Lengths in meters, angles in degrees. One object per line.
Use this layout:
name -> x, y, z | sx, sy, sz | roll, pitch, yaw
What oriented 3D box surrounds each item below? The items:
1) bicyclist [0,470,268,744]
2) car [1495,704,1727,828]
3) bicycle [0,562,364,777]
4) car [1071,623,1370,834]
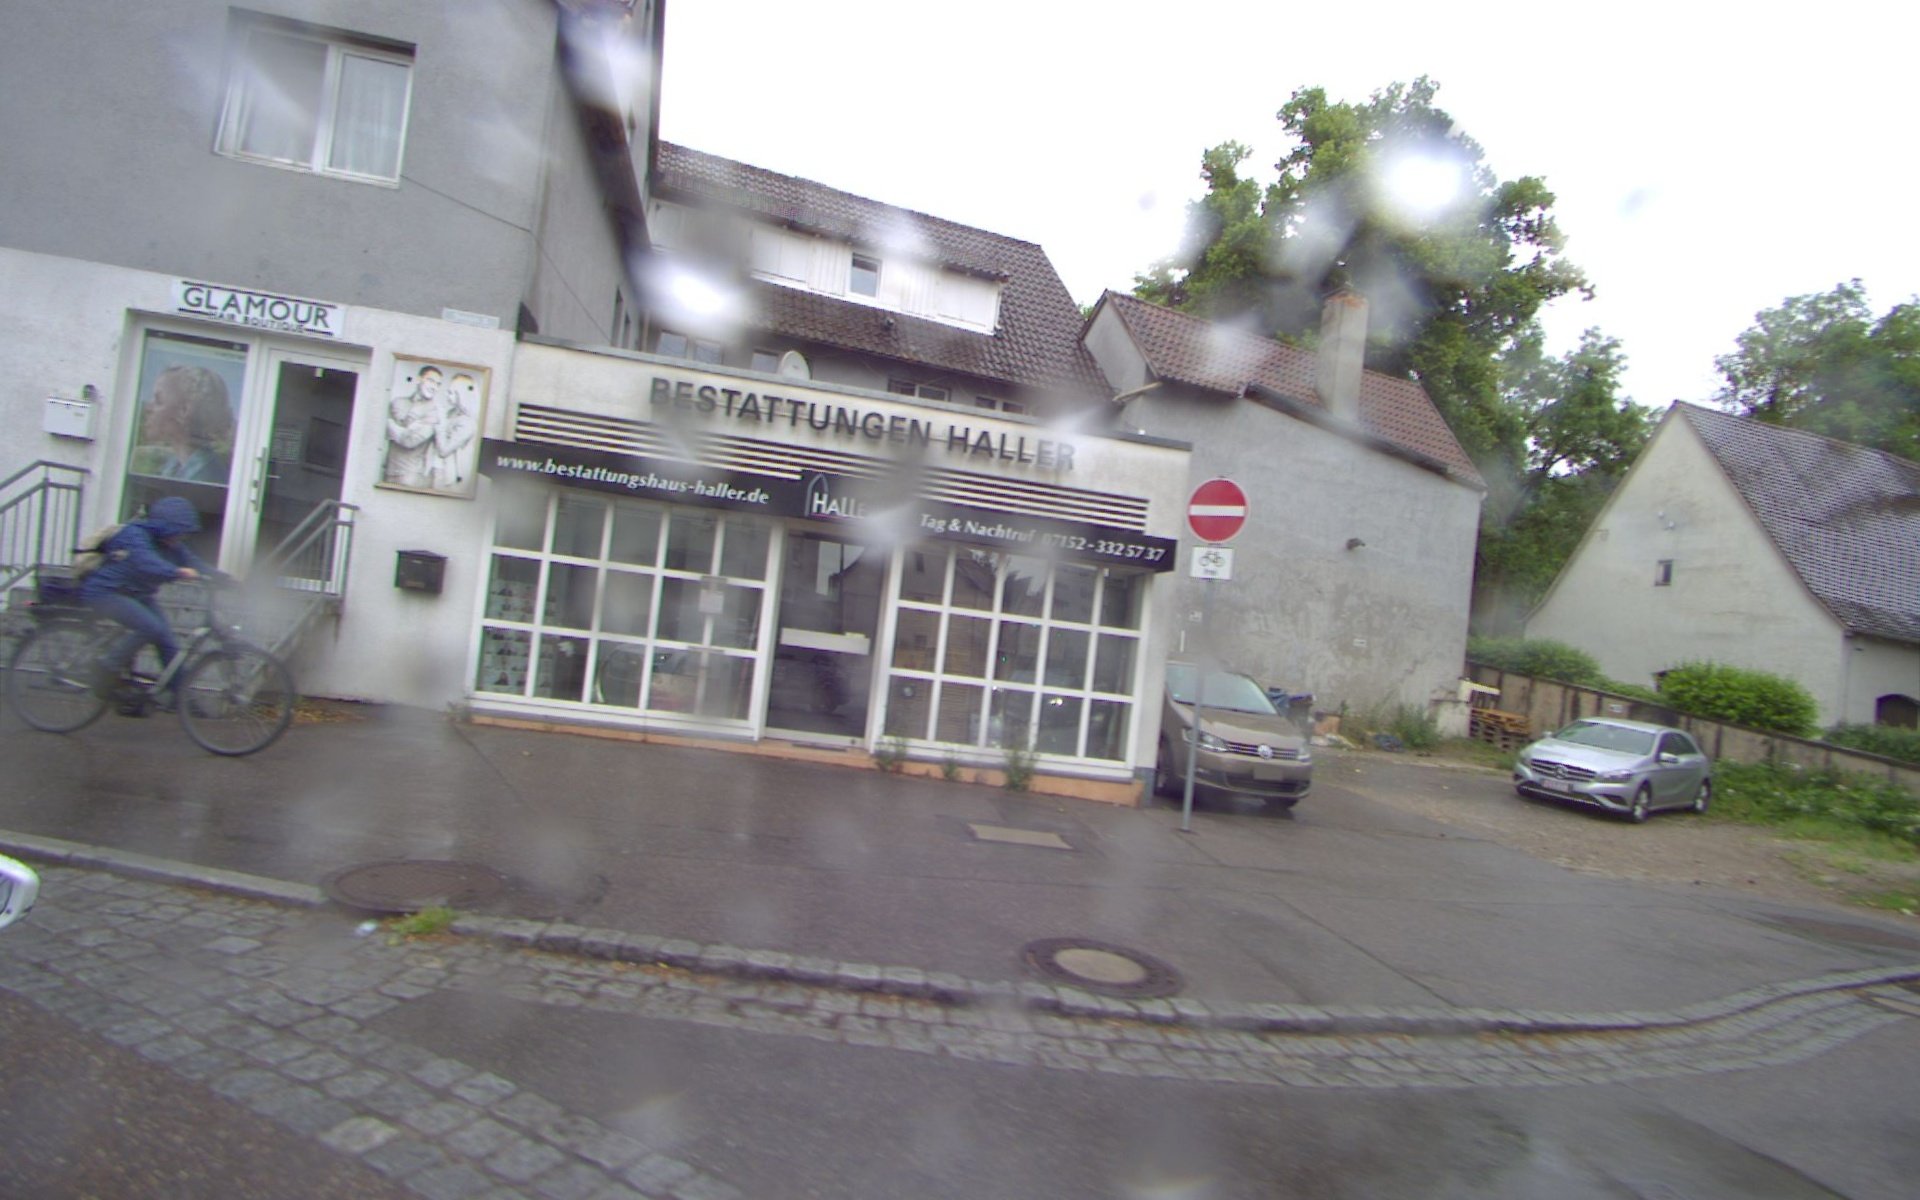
bicyclist -> -5.274, 0.060, 6.470 | 1.015, 1.535, 0.683 | 8, -1, -16
car -> 10.651, 2.636, 16.379 | 3.965, 1.493, 1.814 | 6, 1, -38
bicycle -> -5.154, 0.438, 6.446 | 2.050, 1.046, 0.761 | 9, -2, -16
car -> 3.091, 1.476, 12.951 | 1.968, 1.793, 3.989 | 10, 1, -11
